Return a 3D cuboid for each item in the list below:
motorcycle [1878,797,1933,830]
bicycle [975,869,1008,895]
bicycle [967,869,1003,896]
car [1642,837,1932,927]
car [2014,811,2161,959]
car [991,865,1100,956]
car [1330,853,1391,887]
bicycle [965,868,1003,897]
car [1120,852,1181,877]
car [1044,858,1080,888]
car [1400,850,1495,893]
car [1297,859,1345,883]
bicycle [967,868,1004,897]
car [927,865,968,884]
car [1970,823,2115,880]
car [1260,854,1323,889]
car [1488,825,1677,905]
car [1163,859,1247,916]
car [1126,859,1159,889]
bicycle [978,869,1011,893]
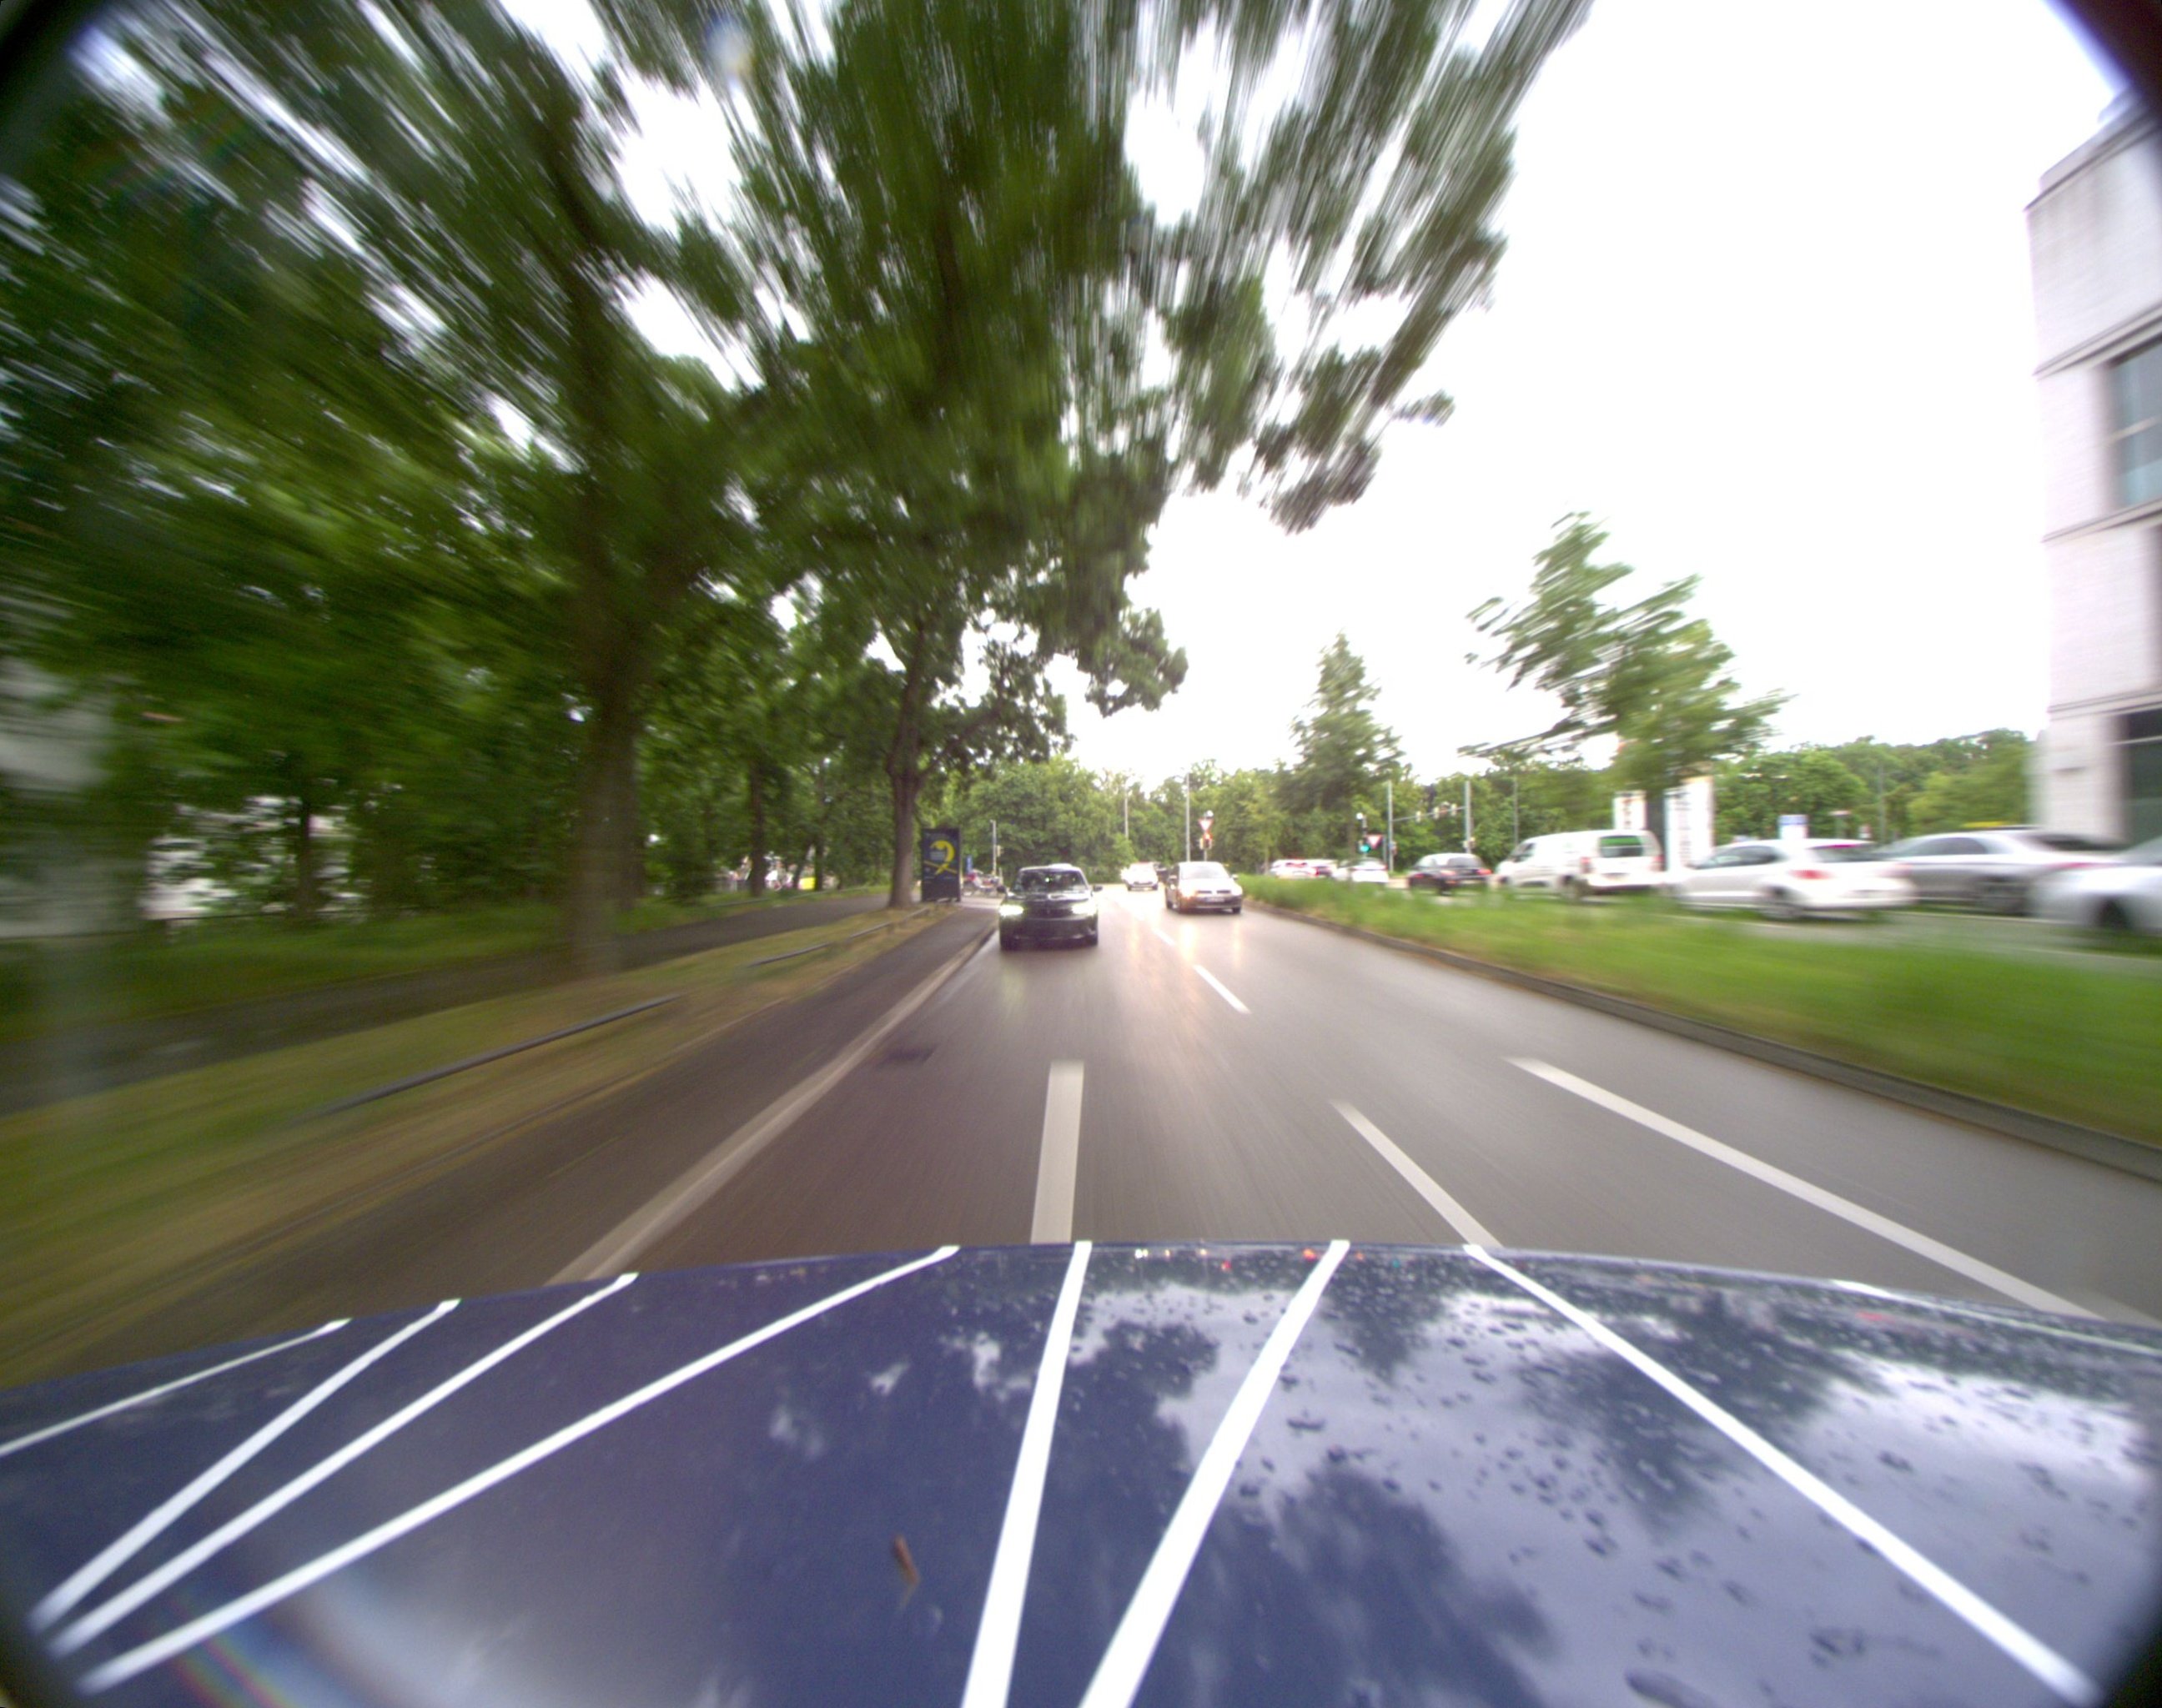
[{"bbox_3d":[38.956,-1.915,35.917,0.528,1.394,1.755,-2,-2,-6],"label":"motorcycle"},{"bbox_3d":[-4.081,1.282,34.696,1.490,1.124,0.556,2,0,-5],"label":"bicycle"},{"bbox_3d":[-4.170,1.231,33.056,1.490,1.124,0.556,2,0,-5],"label":"bicycle"},{"bbox_3d":[12.850,0.443,14.252,1.748,1.459,4.060,0,0,2],"label":"car"},{"bbox_3d":[12.555,0.321,7.167,1.833,1.591,4.674,-1,0,1],"label":"car"},{"bbox_3d":[-0.606,0.994,15.175,1.804,1.422,4.519,-2,0,0],"label":"car"},{"bbox_3d":[13.401,0.791,36.677,1.654,1.566,3.703,0,-2,1],"label":"car"},{"bbox_3d":[-3.932,1.141,30.942,1.490,1.124,0.556,2,0,-5],"label":"bicycle"},{"bbox_3d":[5.145,0.775,56.489,4.004,1.761,1.904,-1,-1,-21],"label":"car"},{"bbox_3d":[-1.039,1.026,40.762,1.645,1.511,3.578,-2,-1,-5],"label":"car"},{"bbox_3d":[12.964,0.648,27.122,1.718,1.451,3.752,0,-2,3],"label":"car"},{"bbox_3d":[15.615,1.143,49.572,1.830,1.510,4.065,0,-2,0],"label":"car"},{"bbox_3d":[-4.004,1.185,31.791,1.490,1.124,0.556,2,0,-5],"label":"bicycle"},{"bbox_3d":[-14.909,2.258,84.793,4.008,2.001,1.995,0,-1,-45],"label":"car"},{"bbox_3d":[24.989,-0.071,19.757,3.300,1.368,1.565,-1,-1,-25],"label":"car"},{"bbox_3d":[10.228,0.888,37.186,1.853,1.565,4.166,-2,-2,0],"label":"car"},{"bbox_3d":[12.903,0.337,20.020,1.848,1.791,4.775,-2,-2,2],"label":"car"},{"bbox_3d":[3.554,0.911,22.490,1.904,1.431,4.000,-2,0,2],"label":"car"},{"bbox_3d":[3.421,1.089,41.816,1.669,1.520,3.659,-2,-1,5],"label":"car"},{"bbox_3d":[-4.251,1.322,37.365,1.600,1.124,0.556,2,0,-5],"label":"bicycle"}]
